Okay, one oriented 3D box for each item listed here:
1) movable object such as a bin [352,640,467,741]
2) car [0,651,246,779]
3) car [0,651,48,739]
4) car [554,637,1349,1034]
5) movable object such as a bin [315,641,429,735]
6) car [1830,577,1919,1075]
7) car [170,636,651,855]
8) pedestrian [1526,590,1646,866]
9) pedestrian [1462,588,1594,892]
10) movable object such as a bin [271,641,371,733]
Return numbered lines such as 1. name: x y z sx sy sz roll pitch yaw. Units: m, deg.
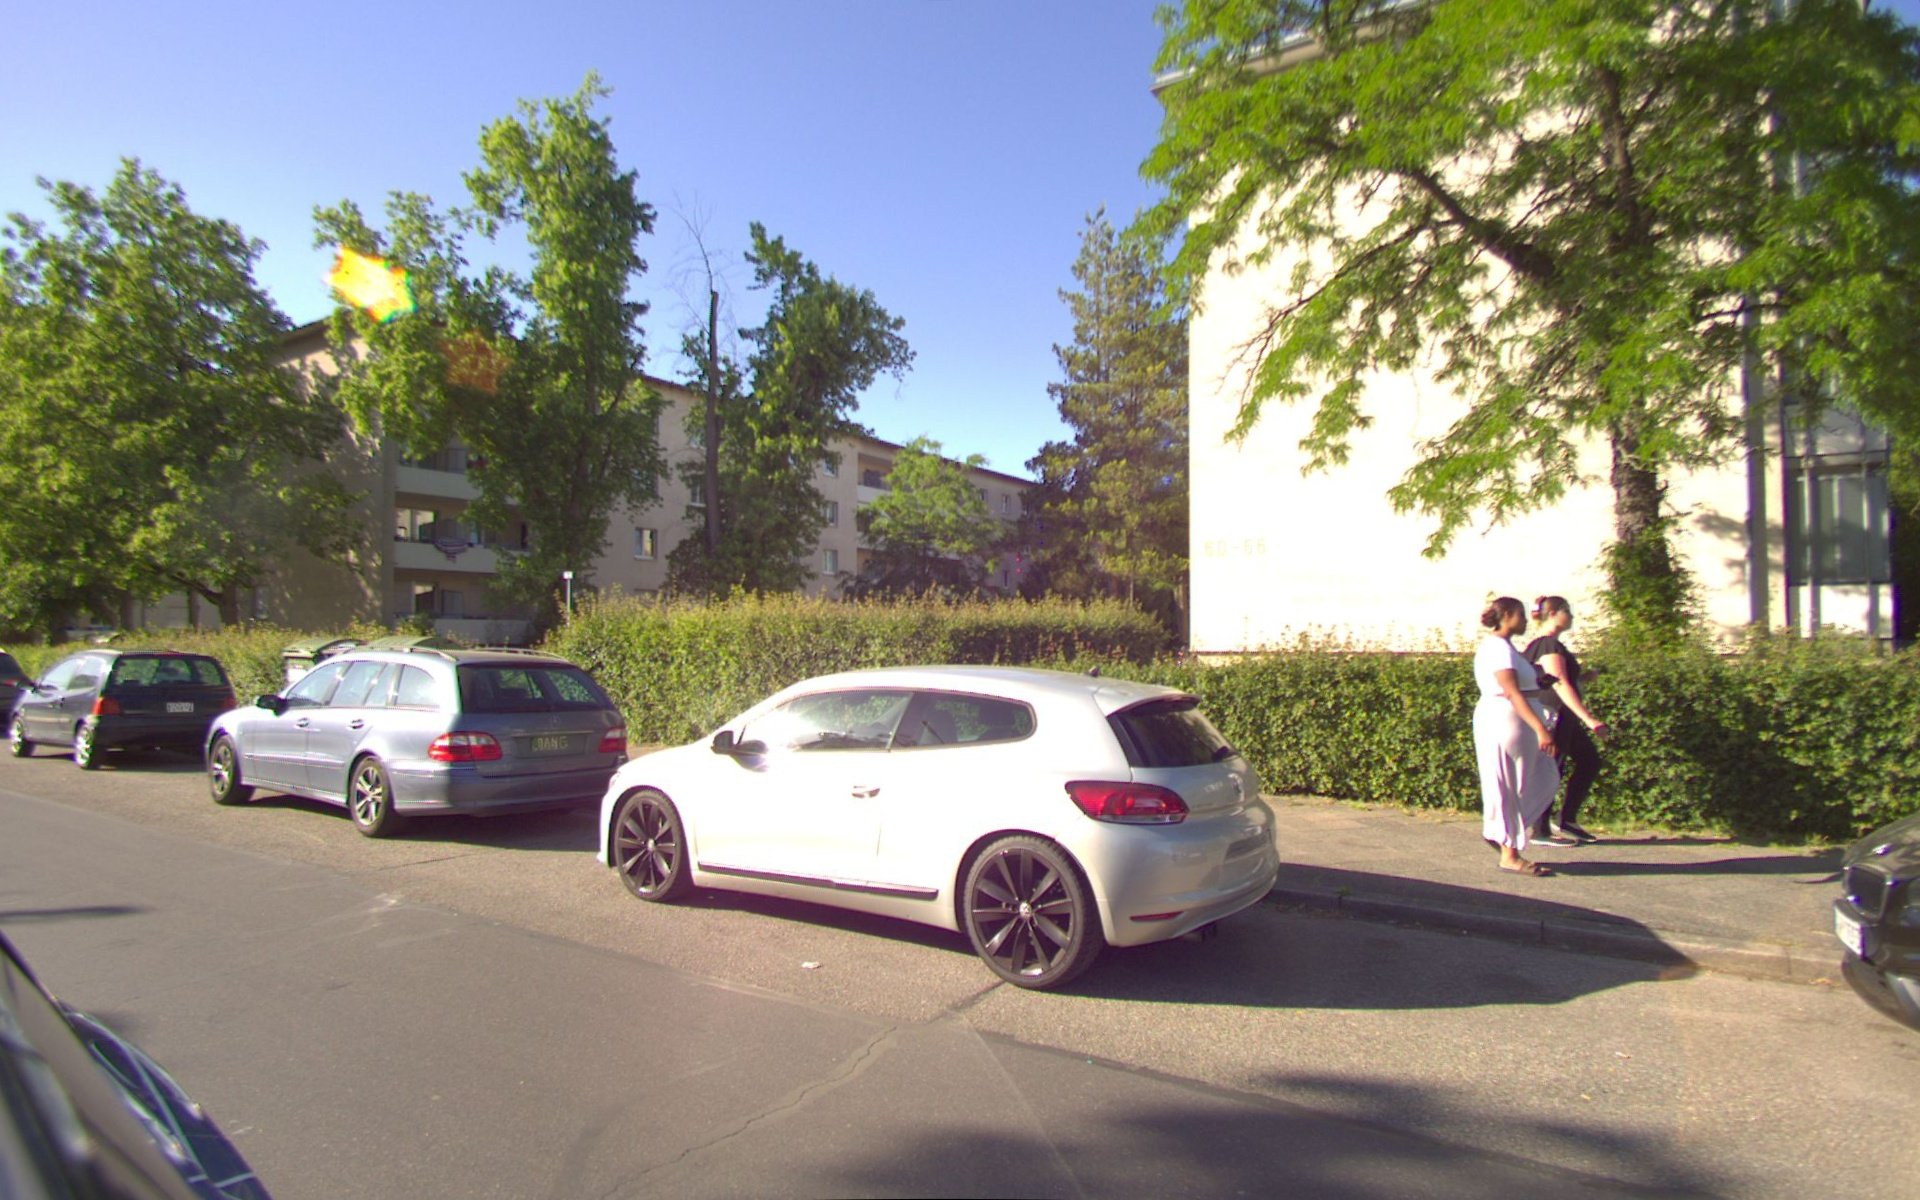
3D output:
1. movable object such as a bin: -8.427 1.350 15.490 1.321 1.426 0.994 -2 0 31
2. car: -11.184 1.420 13.344 3.484 1.475 1.636 -2 -4 32
3. car: -17.687 1.565 17.383 4.658 1.396 1.741 -1 -4 32
4. car: -0.217 0.967 5.659 4.200 1.436 1.739 -1 -5 35
5. movable object such as a bin: -9.483 1.386 16.328 1.252 1.376 1.111 -2 0 31
6. car: 5.172 0.728 2.454 4.356 1.648 1.740 -2 -5 33
7. car: -5.100 1.166 9.131 4.888 1.501 1.739 -3 -6 35
8. pedestrian: 4.138 0.800 6.702 0.598 1.692 0.715 -2 -3 32
9. pedestrian: 3.444 0.794 6.124 0.614 1.692 0.715 -2 -3 32
10. movable object such as a bin: -10.669 1.428 16.899 1.321 1.426 0.888 -2 0 31
